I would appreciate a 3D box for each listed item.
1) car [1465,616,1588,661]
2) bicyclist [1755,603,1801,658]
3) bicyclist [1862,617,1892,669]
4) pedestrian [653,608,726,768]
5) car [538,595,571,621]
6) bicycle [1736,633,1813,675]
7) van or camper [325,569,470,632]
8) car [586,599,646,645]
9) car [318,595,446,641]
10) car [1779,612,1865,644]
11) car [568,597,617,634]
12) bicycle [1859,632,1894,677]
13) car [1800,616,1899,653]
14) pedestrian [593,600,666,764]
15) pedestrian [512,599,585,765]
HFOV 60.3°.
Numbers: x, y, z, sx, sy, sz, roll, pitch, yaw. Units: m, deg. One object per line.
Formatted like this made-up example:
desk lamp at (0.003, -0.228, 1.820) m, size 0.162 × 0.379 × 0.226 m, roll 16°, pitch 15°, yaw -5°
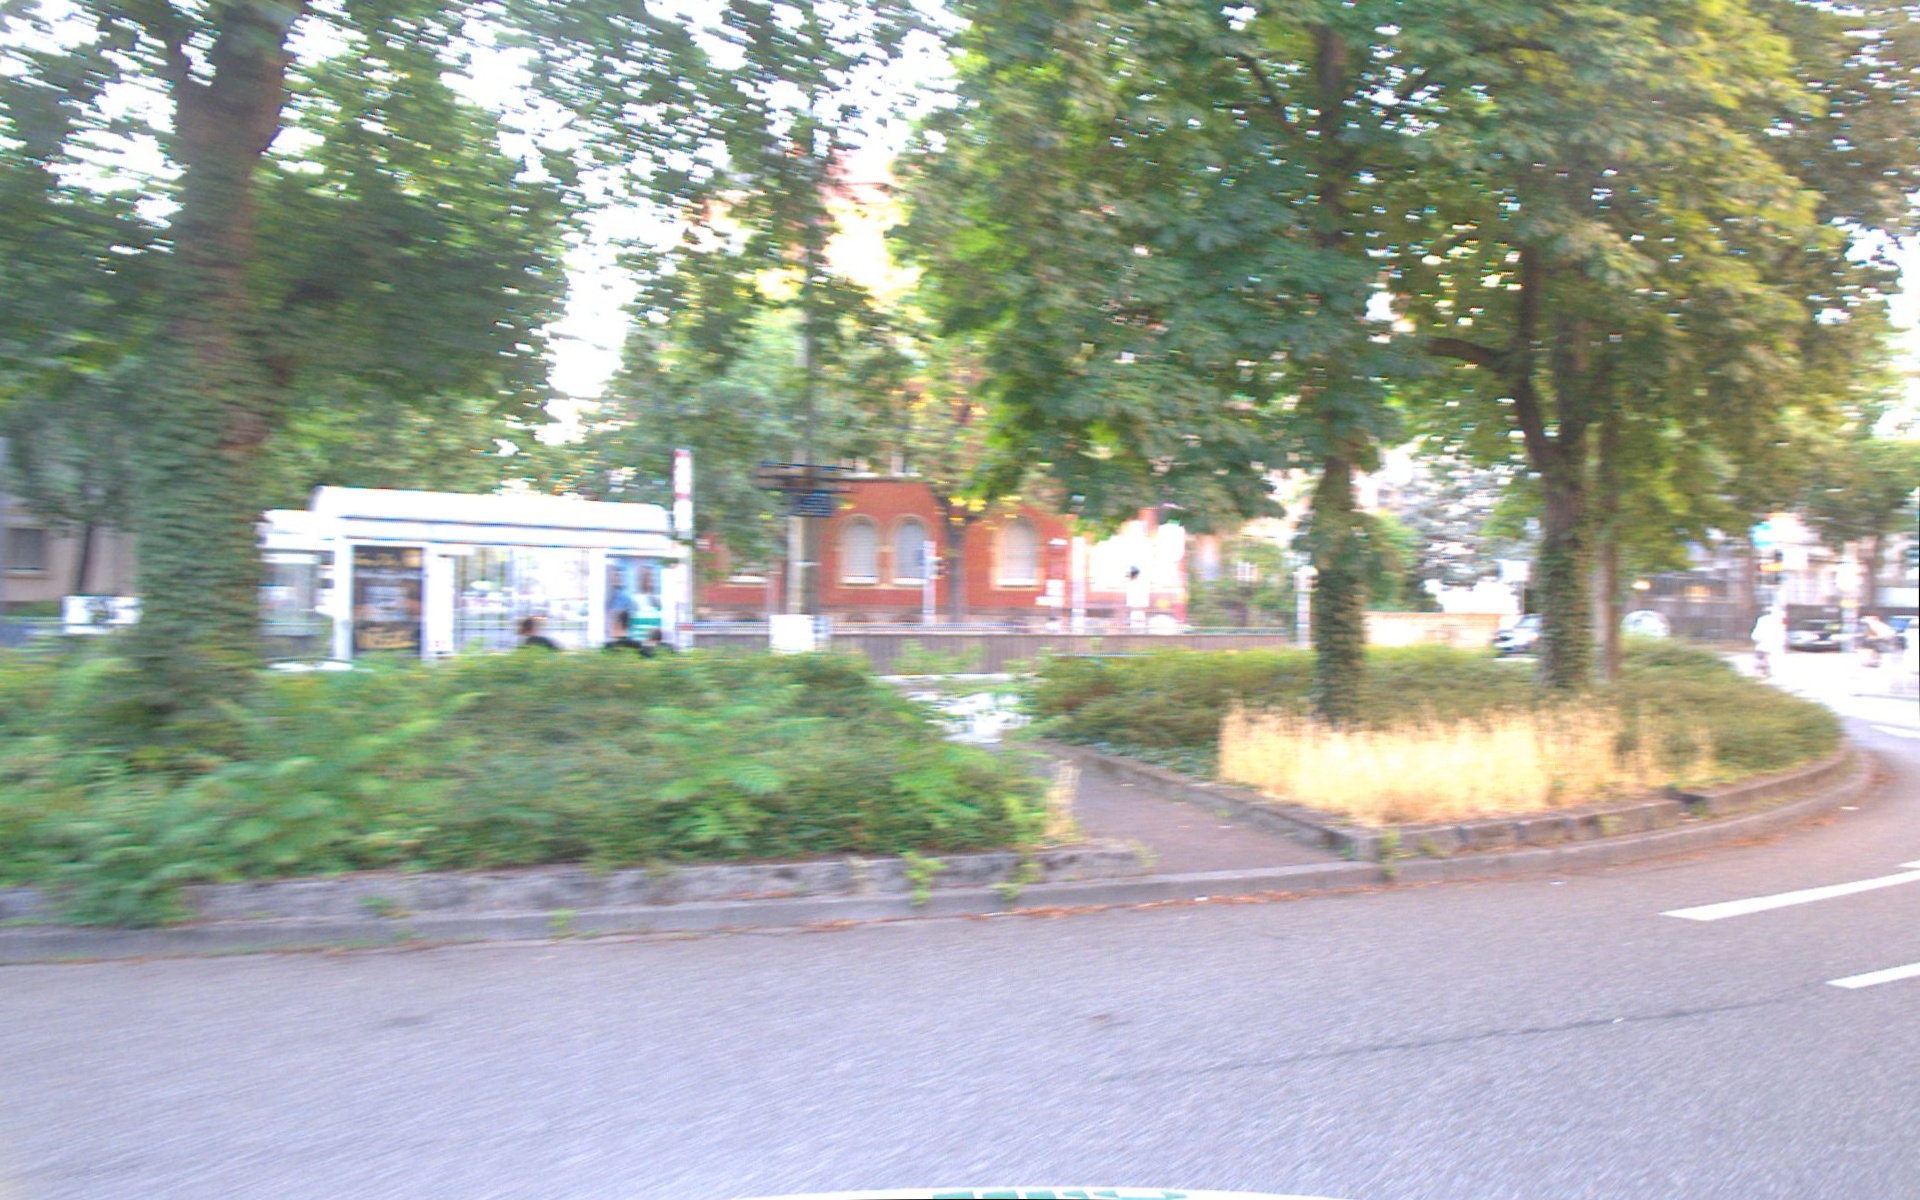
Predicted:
car at (20.094, 1.343, 58.657) m, size 4.367 × 1.536 × 1.927 m, roll 1°, pitch 0°, yaw -35°
bicyclist at (21.636, 0.809, 43.742) m, size 0.846 × 1.436 × 0.698 m, roll 1°, pitch 0°, yaw -8°
bicyclist at (26.788, 1.252, 48.318) m, size 0.686 × 1.487 × 0.781 m, roll 0°, pitch 0°, yaw 36°
pedestrian at (-2.547, 0.810, 15.565) m, size 0.606 × 1.456 × 0.653 m, roll 1°, pitch 0°, yaw -15°
car at (-28.660, 0.537, 116.876) m, size 1.962 × 1.733 × 4.697 m, roll 2°, pitch -1°, yaw -17°
bicycle at (21.527, 1.415, 43.721) m, size 1.753 × 1.073 × 0.698 m, roll 1°, pitch 0°, yaw -8°
van or camper at (-30.612, 0.055, 90.139) m, size 7.258 × 3.137 × 2.657 m, roll 2°, pitch -1°, yaw -21°
car at (-14.035, 0.876, 67.293) m, size 1.962 × 1.733 × 4.697 m, roll 2°, pitch -1°, yaw -17°
car at (-23.899, 0.761, 68.516) m, size 4.878 × 1.733 × 1.988 m, roll 2°, pitch -1°, yaw -21°
car at (40.906, 1.307, 78.442) m, size 4.585 × 1.451 × 1.983 m, roll 1°, pitch 0°, yaw -39°
car at (-18.460, 0.775, 82.956) m, size 1.962 × 1.733 × 4.697 m, roll 2°, pitch -1°, yaw -17°
bicycle at (26.783, 1.591, 48.324) m, size 0.686 × 1.258 × 1.856 m, roll 0°, pitch 0°, yaw 36°
car at (38.233, 1.463, 71.062) m, size 4.577 × 1.536 × 1.927 m, roll 1°, pitch 0°, yaw -35°
pedestrian at (-3.032, 0.731, 15.144) m, size 0.606 × 1.456 × 0.653 m, roll 1°, pitch 0°, yaw -15°
pedestrian at (-3.714, 0.725, 14.935) m, size 0.606 × 1.456 × 0.653 m, roll 1°, pitch 0°, yaw -15°
